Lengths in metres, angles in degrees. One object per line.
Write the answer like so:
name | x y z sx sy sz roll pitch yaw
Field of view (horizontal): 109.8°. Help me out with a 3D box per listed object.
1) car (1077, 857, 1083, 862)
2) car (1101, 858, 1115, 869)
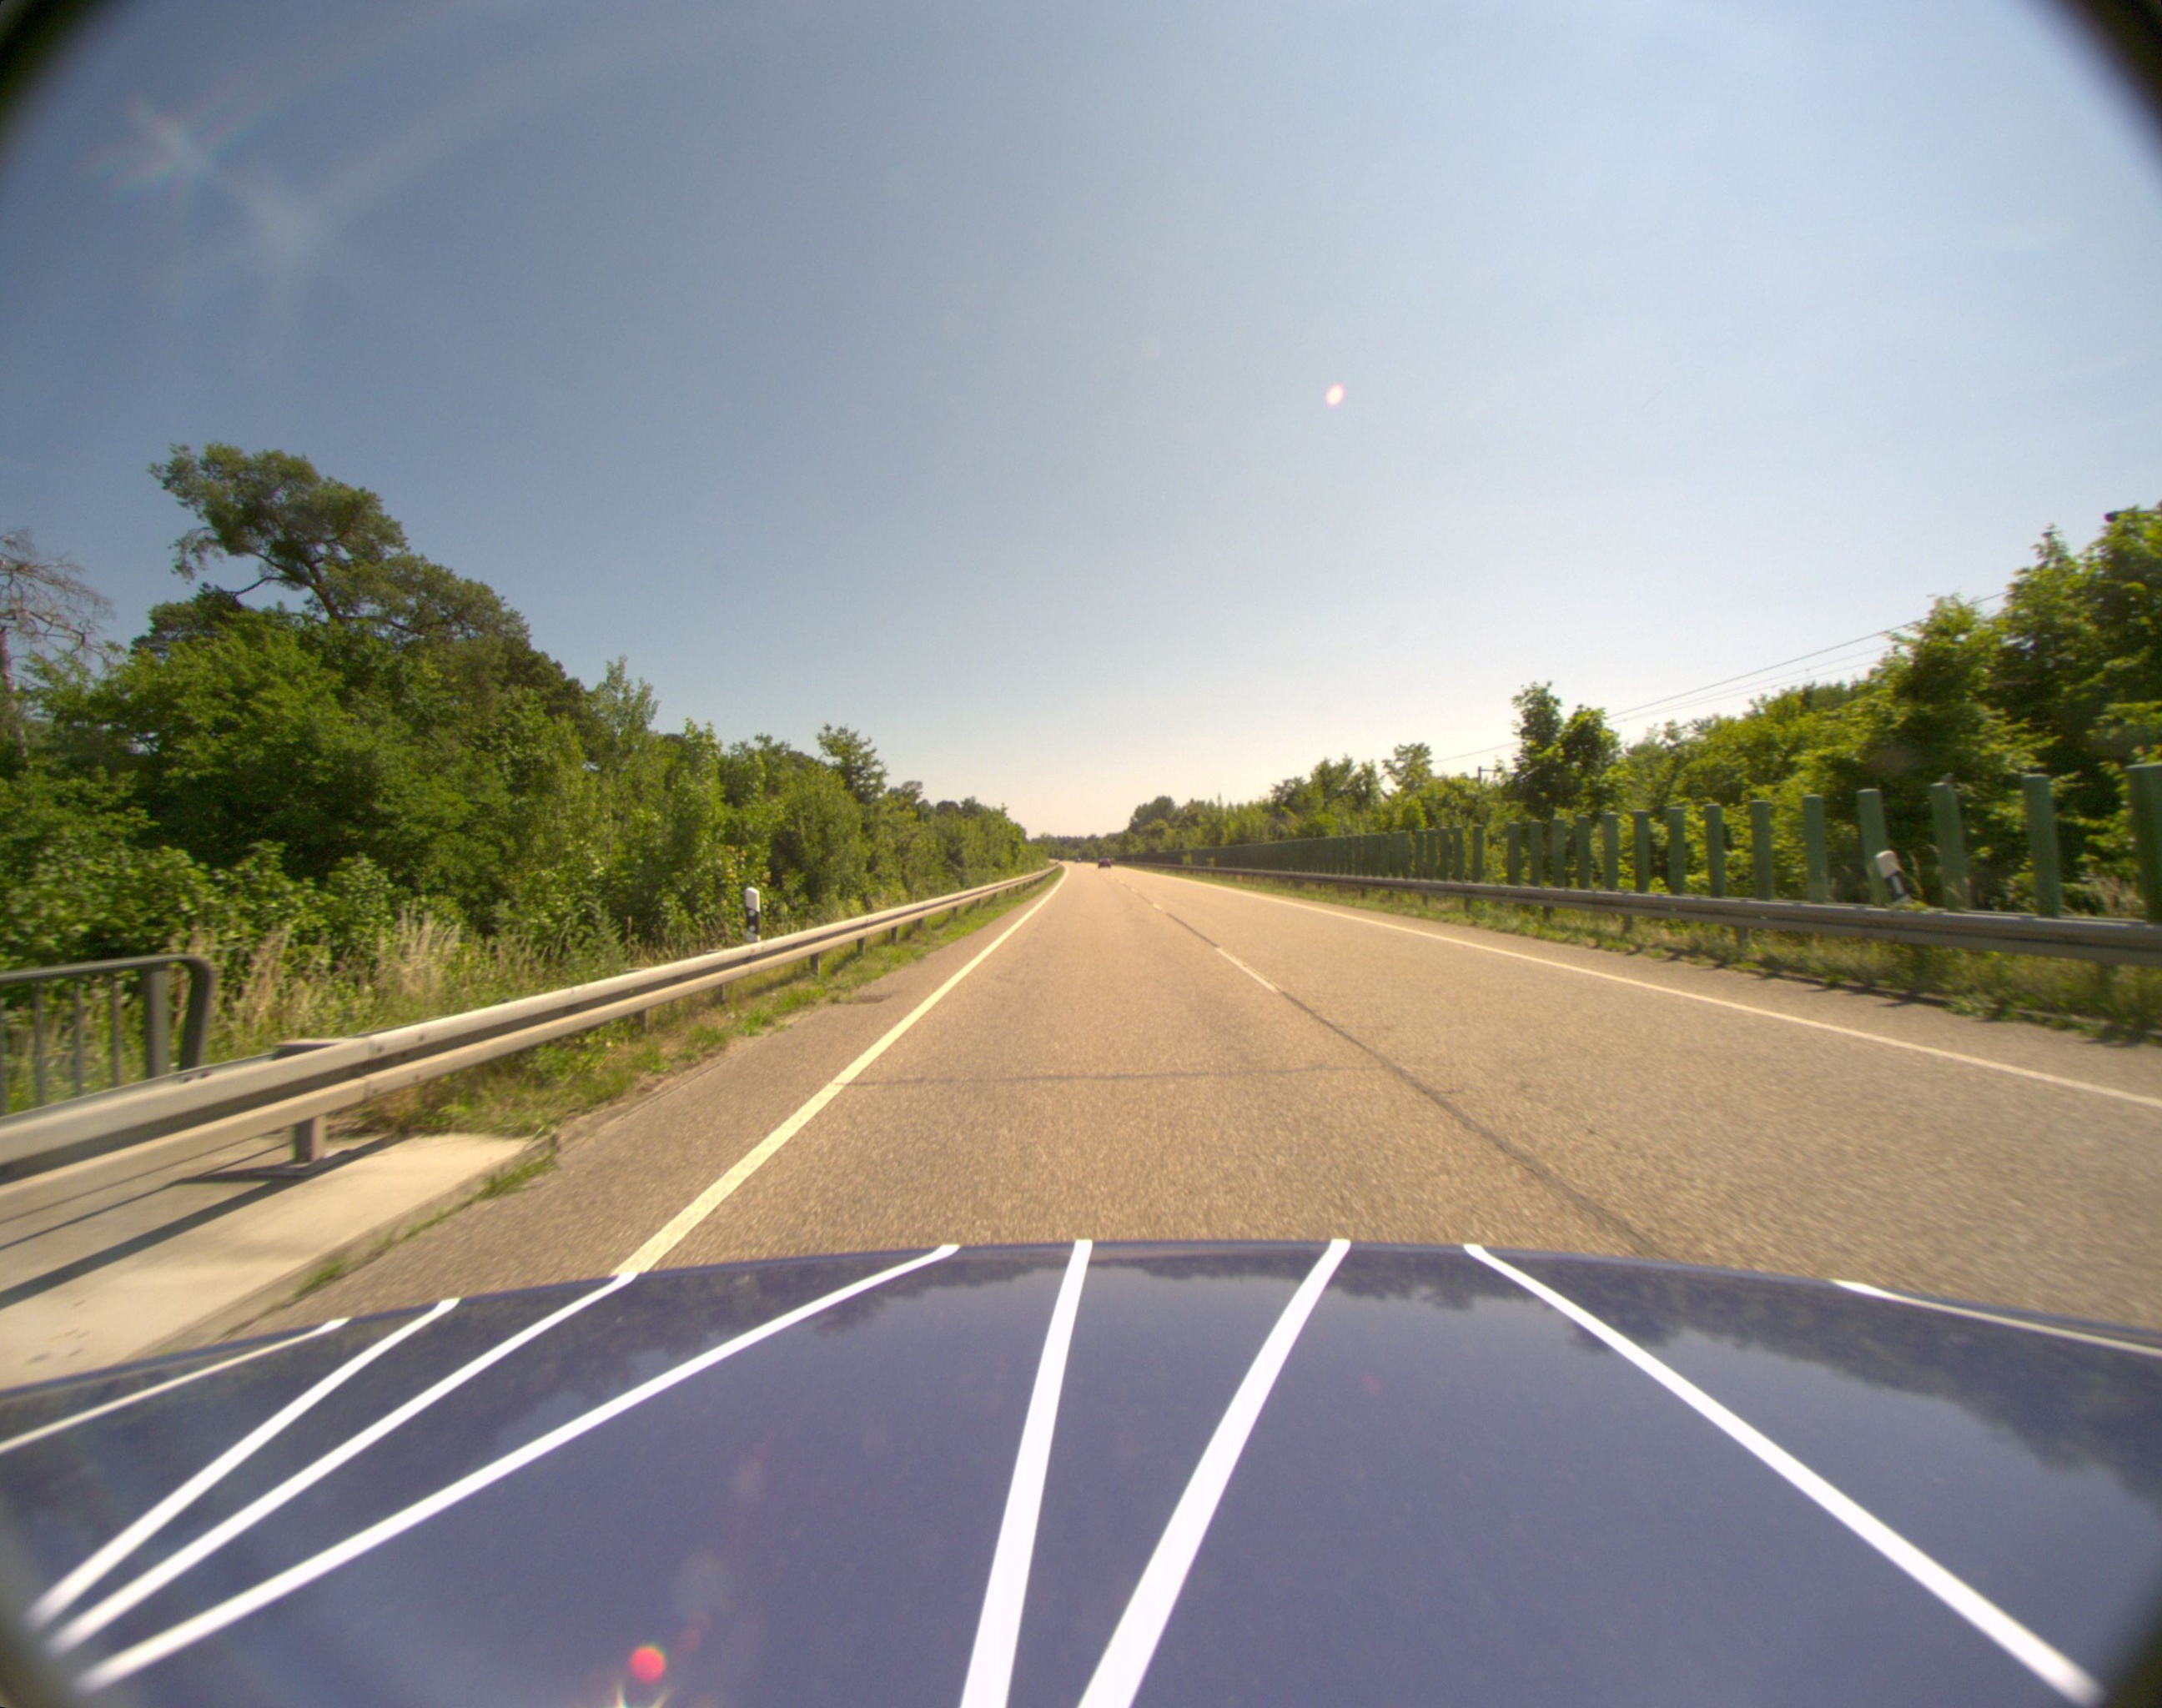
car | -0.195 1.528 222.116 1.653 1.470 3.676 -2 0 -2
car | 3.884 1.355 108.148 1.791 1.364 3.897 -2 0 3
